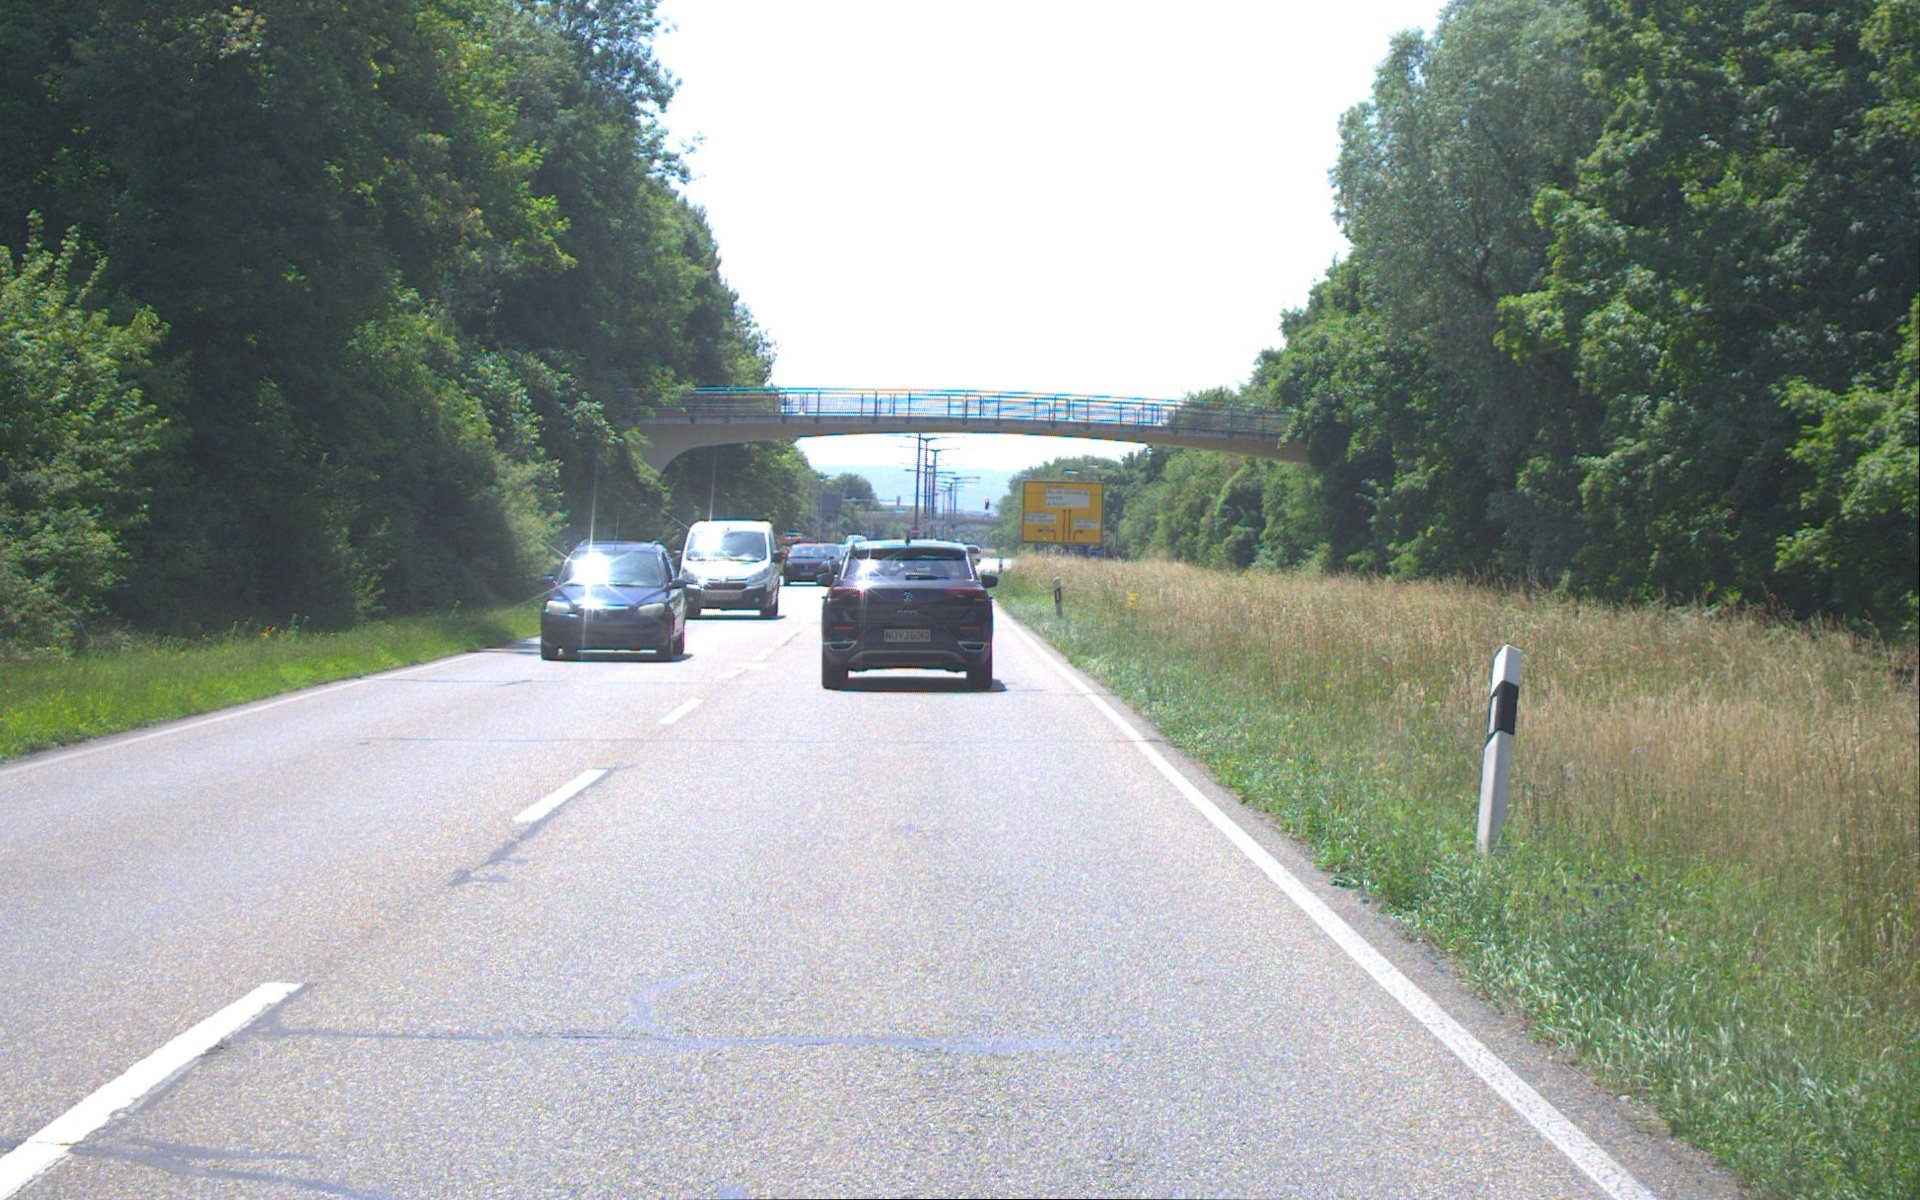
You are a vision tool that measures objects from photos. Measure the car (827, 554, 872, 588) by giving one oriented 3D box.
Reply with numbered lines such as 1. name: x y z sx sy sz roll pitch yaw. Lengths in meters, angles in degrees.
1. car: -4.854 -1.281 151.677 1.784 1.444 4.109 0 1 1

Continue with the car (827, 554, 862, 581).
1. car: -6.148 -1.737 183.312 1.677 1.428 3.772 0 1 1

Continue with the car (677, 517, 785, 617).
1. car: -4.565 -0.672 69.208 1.875 1.922 4.987 1 1 -1

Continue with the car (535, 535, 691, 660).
1. car: -4.461 -0.058 44.705 1.672 1.513 4.000 1 1 -1

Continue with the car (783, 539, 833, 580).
1. car: -5.530 -1.494 125.446 1.682 1.488 4.000 0 1 0

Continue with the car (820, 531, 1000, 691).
1. car: -0.484 0.089 36.601 1.755 1.551 4.000 2 1 1
